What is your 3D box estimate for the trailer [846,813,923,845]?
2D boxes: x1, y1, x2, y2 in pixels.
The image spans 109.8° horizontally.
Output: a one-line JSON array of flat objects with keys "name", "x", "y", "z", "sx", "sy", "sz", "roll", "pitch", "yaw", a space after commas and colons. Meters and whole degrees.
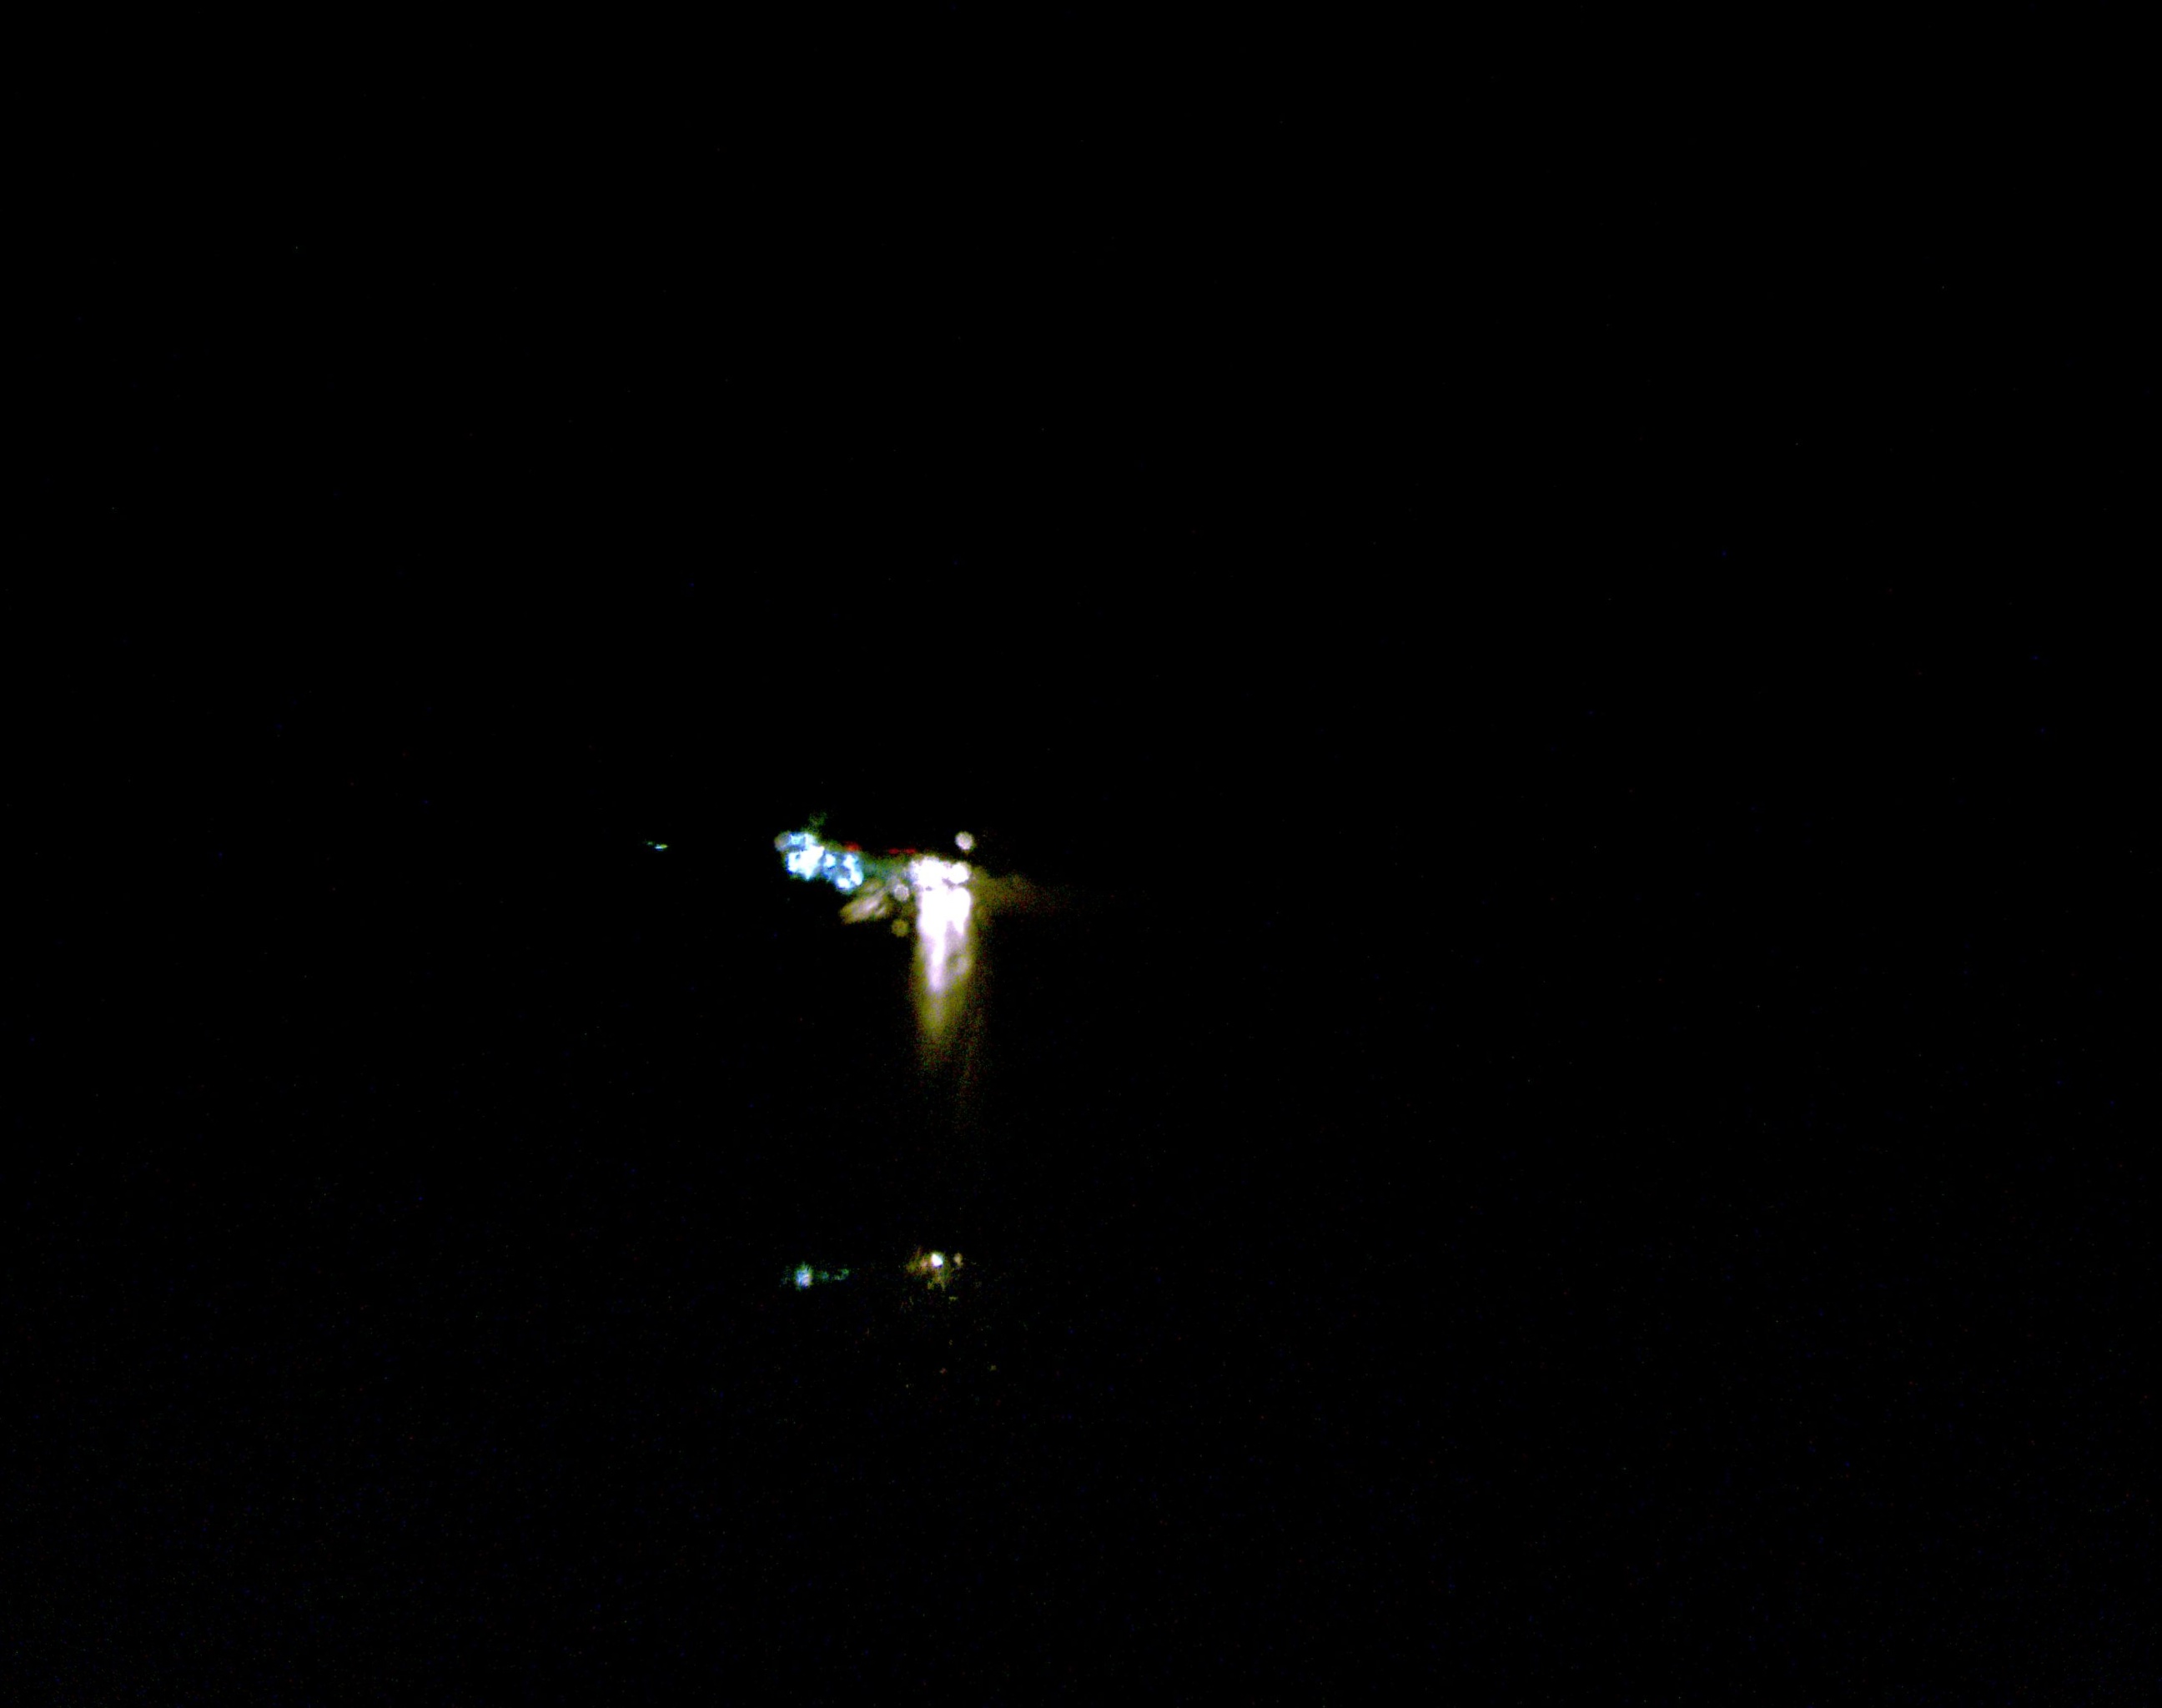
[{"name": "trailer", "x": -25.458, "y": -3.208, "z": 97.645, "sx": 3.458, "sy": 3.856, "sz": 13.322, "roll": -3, "pitch": 4, "yaw": -44}]

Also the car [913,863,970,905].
[{"name": "car", "x": -6.489, "y": 1.319, "z": 34.966, "sx": 1.896, "sy": 1.603, "sz": 3.991, "roll": 0, "pitch": 3, "yaw": -21}]

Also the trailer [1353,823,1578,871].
[{"name": "trailer", "x": 24.928, "y": -0.593, "z": 50.218, "sx": 12.972, "sy": 2.713, "sz": 2.004, "roll": 3, "pitch": 3, "yaw": 38}]

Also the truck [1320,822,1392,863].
[{"name": "truck", "x": 19.630, "y": -0.871, "z": 54.374, "sx": 4.329, "sy": 2.716, "sz": 2.004, "roll": 3, "pitch": 3, "yaw": 39}]

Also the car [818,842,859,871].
[{"name": "car", "x": -18.284, "y": 0.170, "z": 57.279, "sx": 2.002, "sy": 2.003, "sz": 3.990, "roll": -6, "pitch": 3, "yaw": -29}]

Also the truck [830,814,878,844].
[{"name": "truck", "x": -30.966, "y": -3.413, "z": 103.524, "sx": 3.416, "sy": 3.951, "sz": 7.436, "roll": -2, "pitch": 2, "yaw": -42}]
